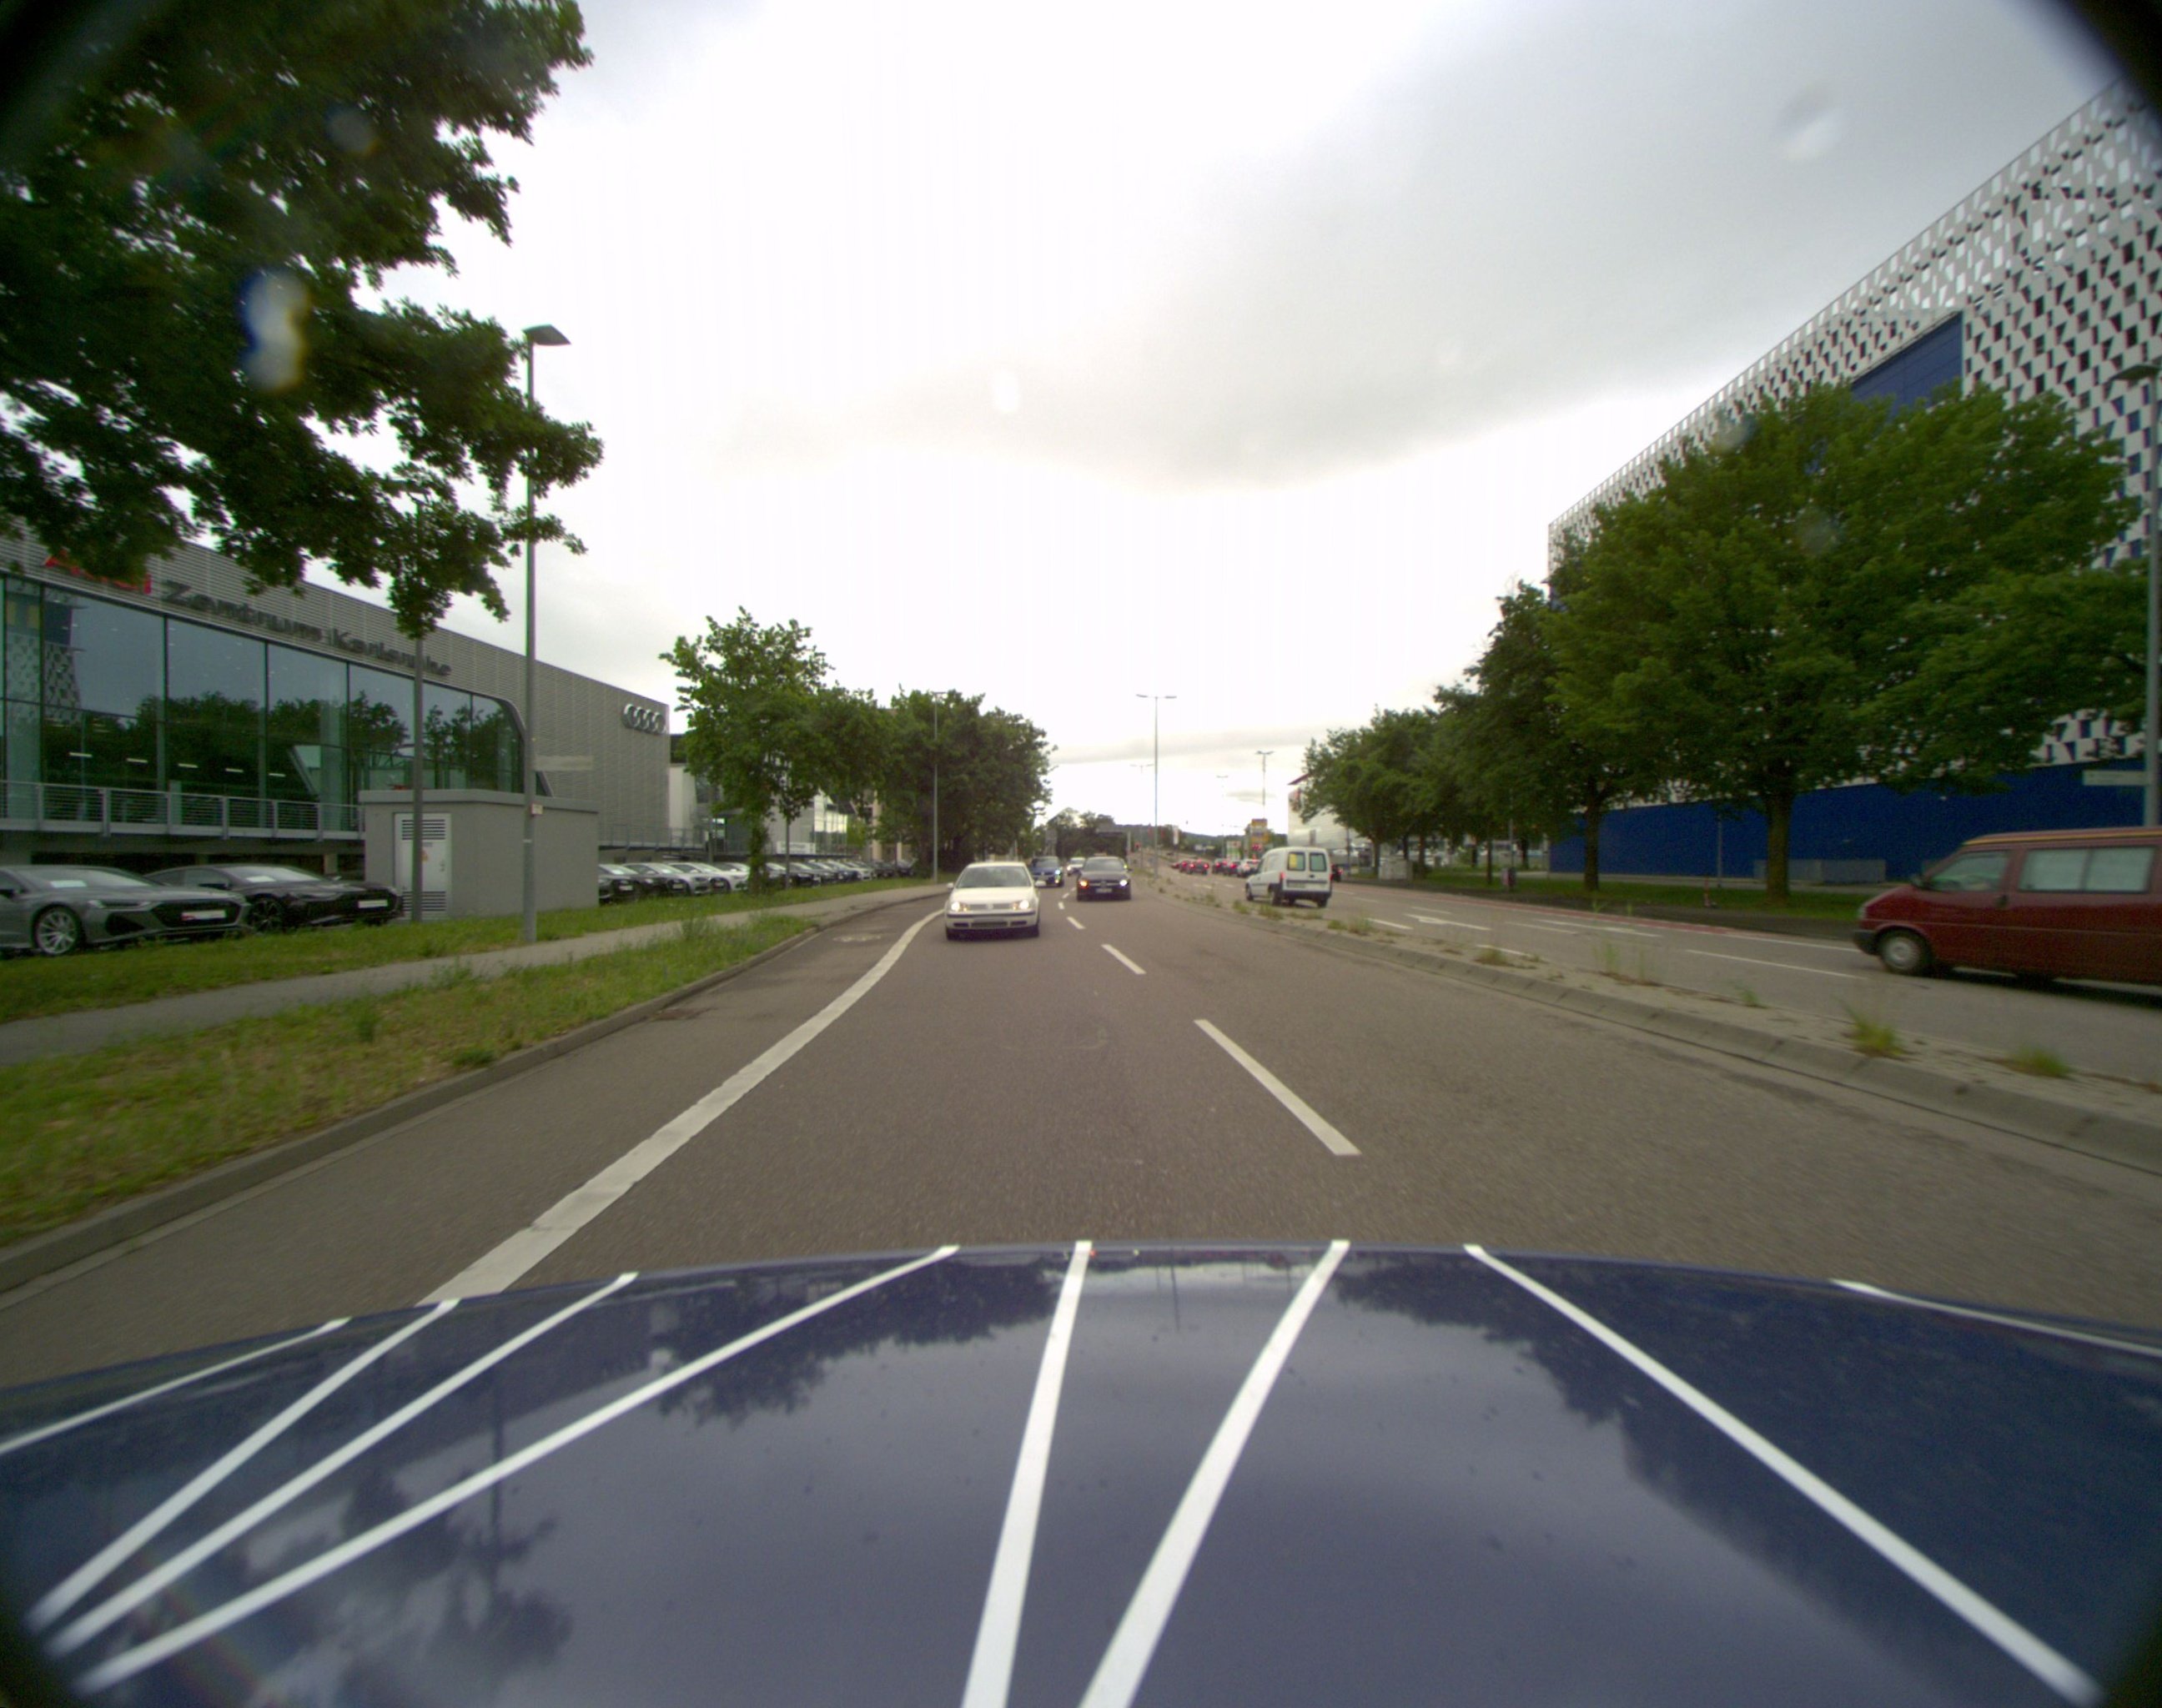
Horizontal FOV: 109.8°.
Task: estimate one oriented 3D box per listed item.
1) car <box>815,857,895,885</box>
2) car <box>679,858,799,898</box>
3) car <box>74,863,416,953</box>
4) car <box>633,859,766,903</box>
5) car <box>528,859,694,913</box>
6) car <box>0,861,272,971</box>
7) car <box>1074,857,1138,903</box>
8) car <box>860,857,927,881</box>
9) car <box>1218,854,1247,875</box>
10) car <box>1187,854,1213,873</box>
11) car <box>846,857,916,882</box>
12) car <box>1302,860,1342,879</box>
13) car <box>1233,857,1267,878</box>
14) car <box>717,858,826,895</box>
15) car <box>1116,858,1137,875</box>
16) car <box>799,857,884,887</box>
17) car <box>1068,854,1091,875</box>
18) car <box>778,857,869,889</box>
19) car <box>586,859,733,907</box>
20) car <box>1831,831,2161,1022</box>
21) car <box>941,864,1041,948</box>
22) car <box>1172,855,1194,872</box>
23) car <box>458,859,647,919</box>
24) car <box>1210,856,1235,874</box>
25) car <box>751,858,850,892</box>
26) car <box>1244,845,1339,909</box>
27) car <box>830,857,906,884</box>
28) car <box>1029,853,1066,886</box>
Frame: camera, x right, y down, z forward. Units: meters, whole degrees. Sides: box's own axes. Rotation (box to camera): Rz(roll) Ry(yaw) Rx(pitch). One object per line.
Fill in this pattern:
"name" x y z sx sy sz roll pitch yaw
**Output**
"car" -13.013 0.985 43.881 4.040 1.384 1.728 -3 0 3
"car" -13.792 0.961 30.787 4.040 1.384 1.728 -3 0 3
"car" -15.152 0.949 13.934 4.307 1.308 1.864 -3 0 3
"car" -14.218 0.972 28.464 4.040 1.384 1.728 -3 0 3
"car" -14.480 0.966 23.520 4.040 1.384 1.728 -3 0 3
"car" -15.593 0.945 11.494 4.762 1.416 1.902 -3 0 3
"car" 0.761 0.845 26.065 1.837 1.415 3.999 -1 0 -3
"car" -12.860 1.025 52.205 4.040 1.384 1.728 -3 0 3
"car" 14.045 0.963 70.623 1.651 1.788 3.980 2 0 -3
"car" 11.522 0.910 73.856 1.651 1.788 3.980 2 0 -3
"car" -12.958 1.020 49.371 4.040 1.384 1.728 -3 0 3
"car" 18.912 1.197 59.820 1.651 1.382 3.980 2 0 -3
"car" 14.310 1.113 64.508 1.727 1.602 3.980 2 0 -3
"car" -13.667 0.960 33.699 4.040 1.384 1.728 -3 0 3
"car" 4.201 1.121 69.668 1.836 1.415 4.001 -2 0 3
"car" -13.106 0.972 41.722 4.040 1.384 1.728 -3 0 3
"car" -0.115 0.943 67.634 1.994 1.838 4.104 0 0 0
"car" -13.212 0.966 39.108 4.040 1.384 1.728 -3 0 3
"car" -14.313 0.964 25.933 4.040 1.384 1.728 -3 0 3
"car" 11.749 0.741 8.605 1.771 1.913 4.910 1 0 2
"car" -1.702 0.952 15.462 1.727 1.415 3.940 -1 0 -3
"car" 11.151 1.015 83.189 1.651 1.788 3.980 2 0 -3
"car" -14.576 0.953 21.100 4.040 1.384 1.728 -3 0 3
"car" 15.001 1.131 80.551 1.651 1.788 3.980 2 0 -3
"car" -13.407 0.969 36.434 4.040 1.384 1.728 -3 0 3
"car" 6.440 0.675 23.717 1.651 1.788 3.980 1 0 -3
"car" -13.070 1.010 46.765 4.040 1.384 1.728 -3 0 3
"car" -1.689 0.757 38.843 1.787 1.637 3.999 0 0 -2
